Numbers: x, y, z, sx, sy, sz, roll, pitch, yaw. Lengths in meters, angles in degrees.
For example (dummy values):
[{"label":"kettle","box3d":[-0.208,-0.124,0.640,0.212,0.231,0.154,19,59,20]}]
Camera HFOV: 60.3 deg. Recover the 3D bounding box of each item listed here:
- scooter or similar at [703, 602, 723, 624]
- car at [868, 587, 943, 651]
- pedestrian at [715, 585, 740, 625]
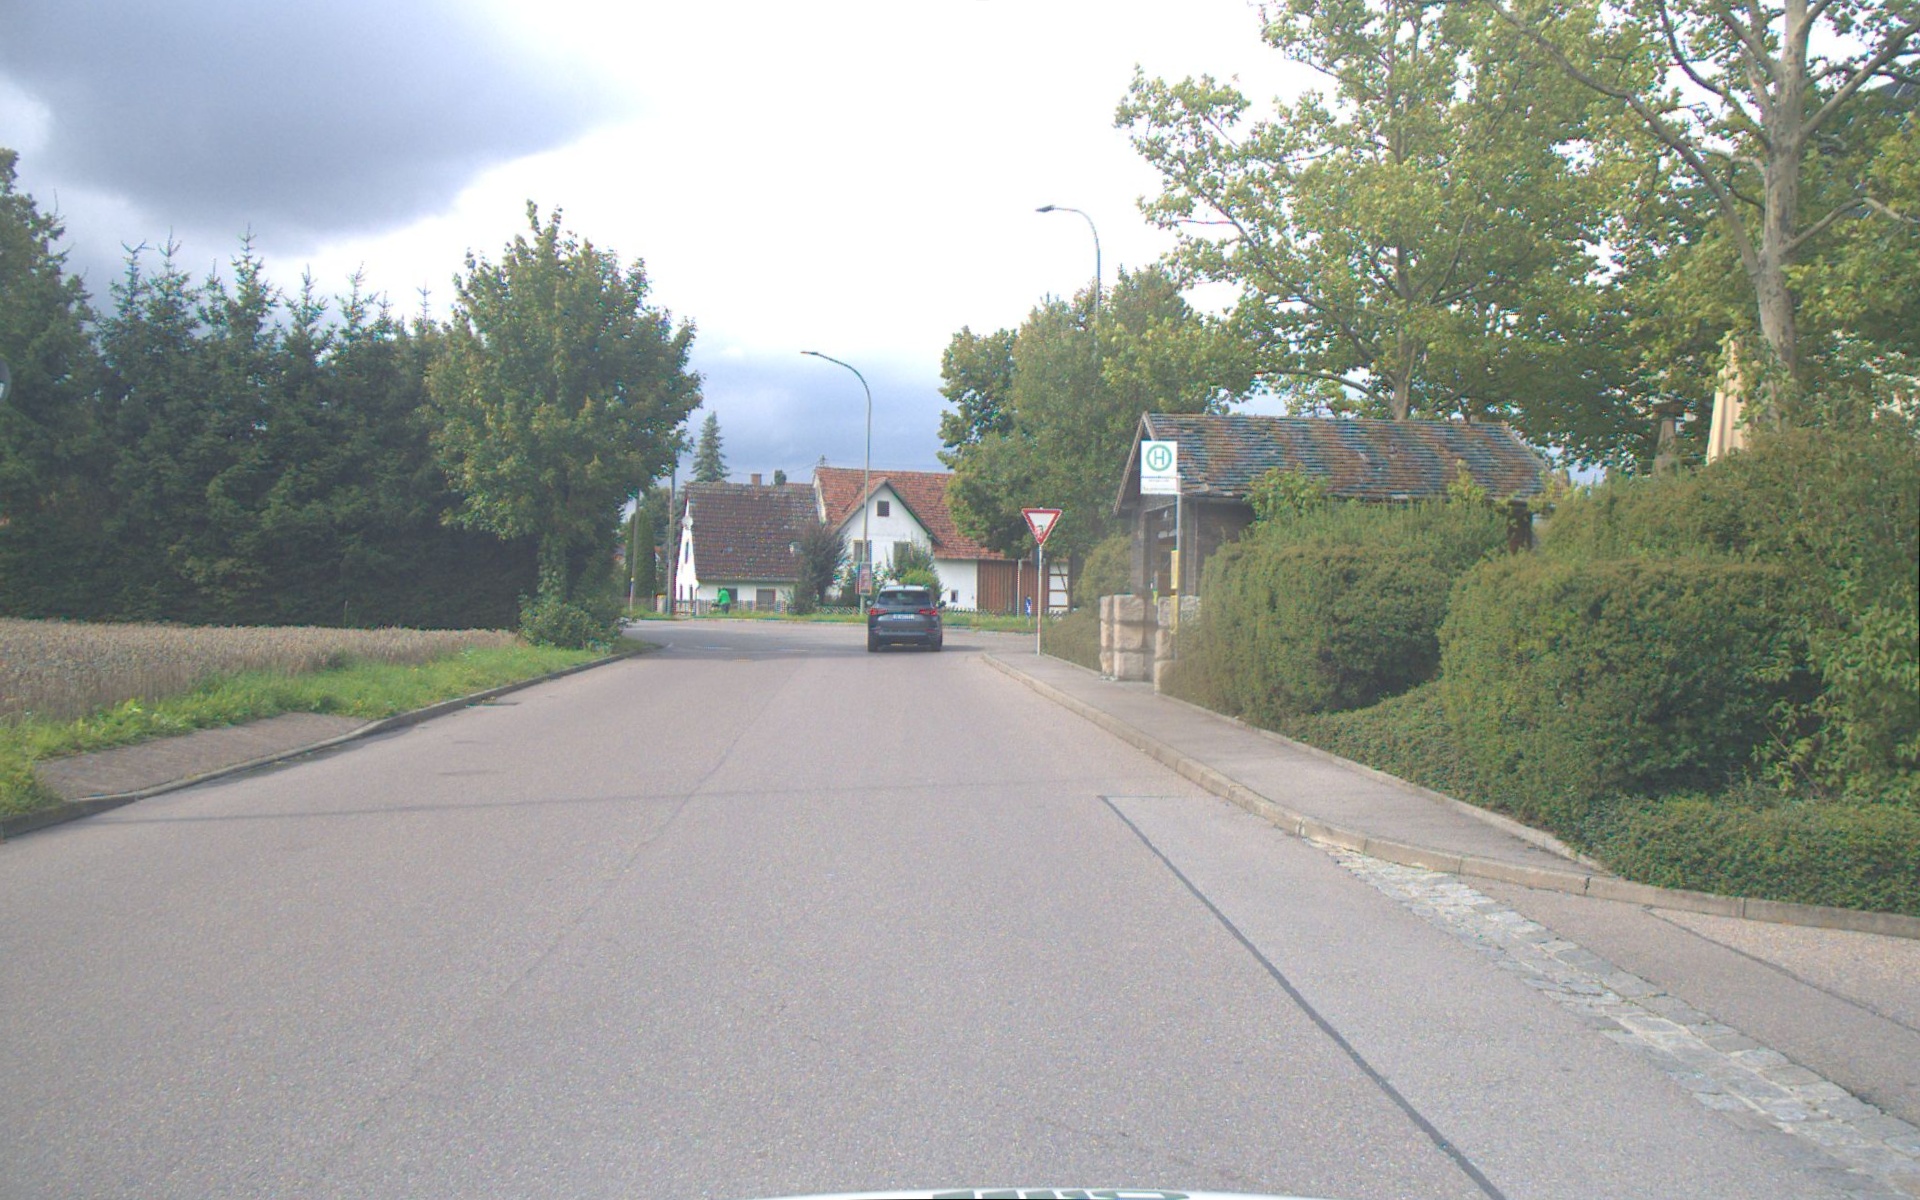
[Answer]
[{"label":"scooter or similar","box3d":[-11.186,0.586,74.903,0.625,0.964,0.614,6,-3,-36]},{"label":"car","box3d":[-1.302,0.429,40.882,1.762,1.488,3.661,1,0,-1]},{"label":"pedestrian","box3d":[-10.481,0.229,74.572,0.782,1.694,0.703,6,-3,-36]}]
